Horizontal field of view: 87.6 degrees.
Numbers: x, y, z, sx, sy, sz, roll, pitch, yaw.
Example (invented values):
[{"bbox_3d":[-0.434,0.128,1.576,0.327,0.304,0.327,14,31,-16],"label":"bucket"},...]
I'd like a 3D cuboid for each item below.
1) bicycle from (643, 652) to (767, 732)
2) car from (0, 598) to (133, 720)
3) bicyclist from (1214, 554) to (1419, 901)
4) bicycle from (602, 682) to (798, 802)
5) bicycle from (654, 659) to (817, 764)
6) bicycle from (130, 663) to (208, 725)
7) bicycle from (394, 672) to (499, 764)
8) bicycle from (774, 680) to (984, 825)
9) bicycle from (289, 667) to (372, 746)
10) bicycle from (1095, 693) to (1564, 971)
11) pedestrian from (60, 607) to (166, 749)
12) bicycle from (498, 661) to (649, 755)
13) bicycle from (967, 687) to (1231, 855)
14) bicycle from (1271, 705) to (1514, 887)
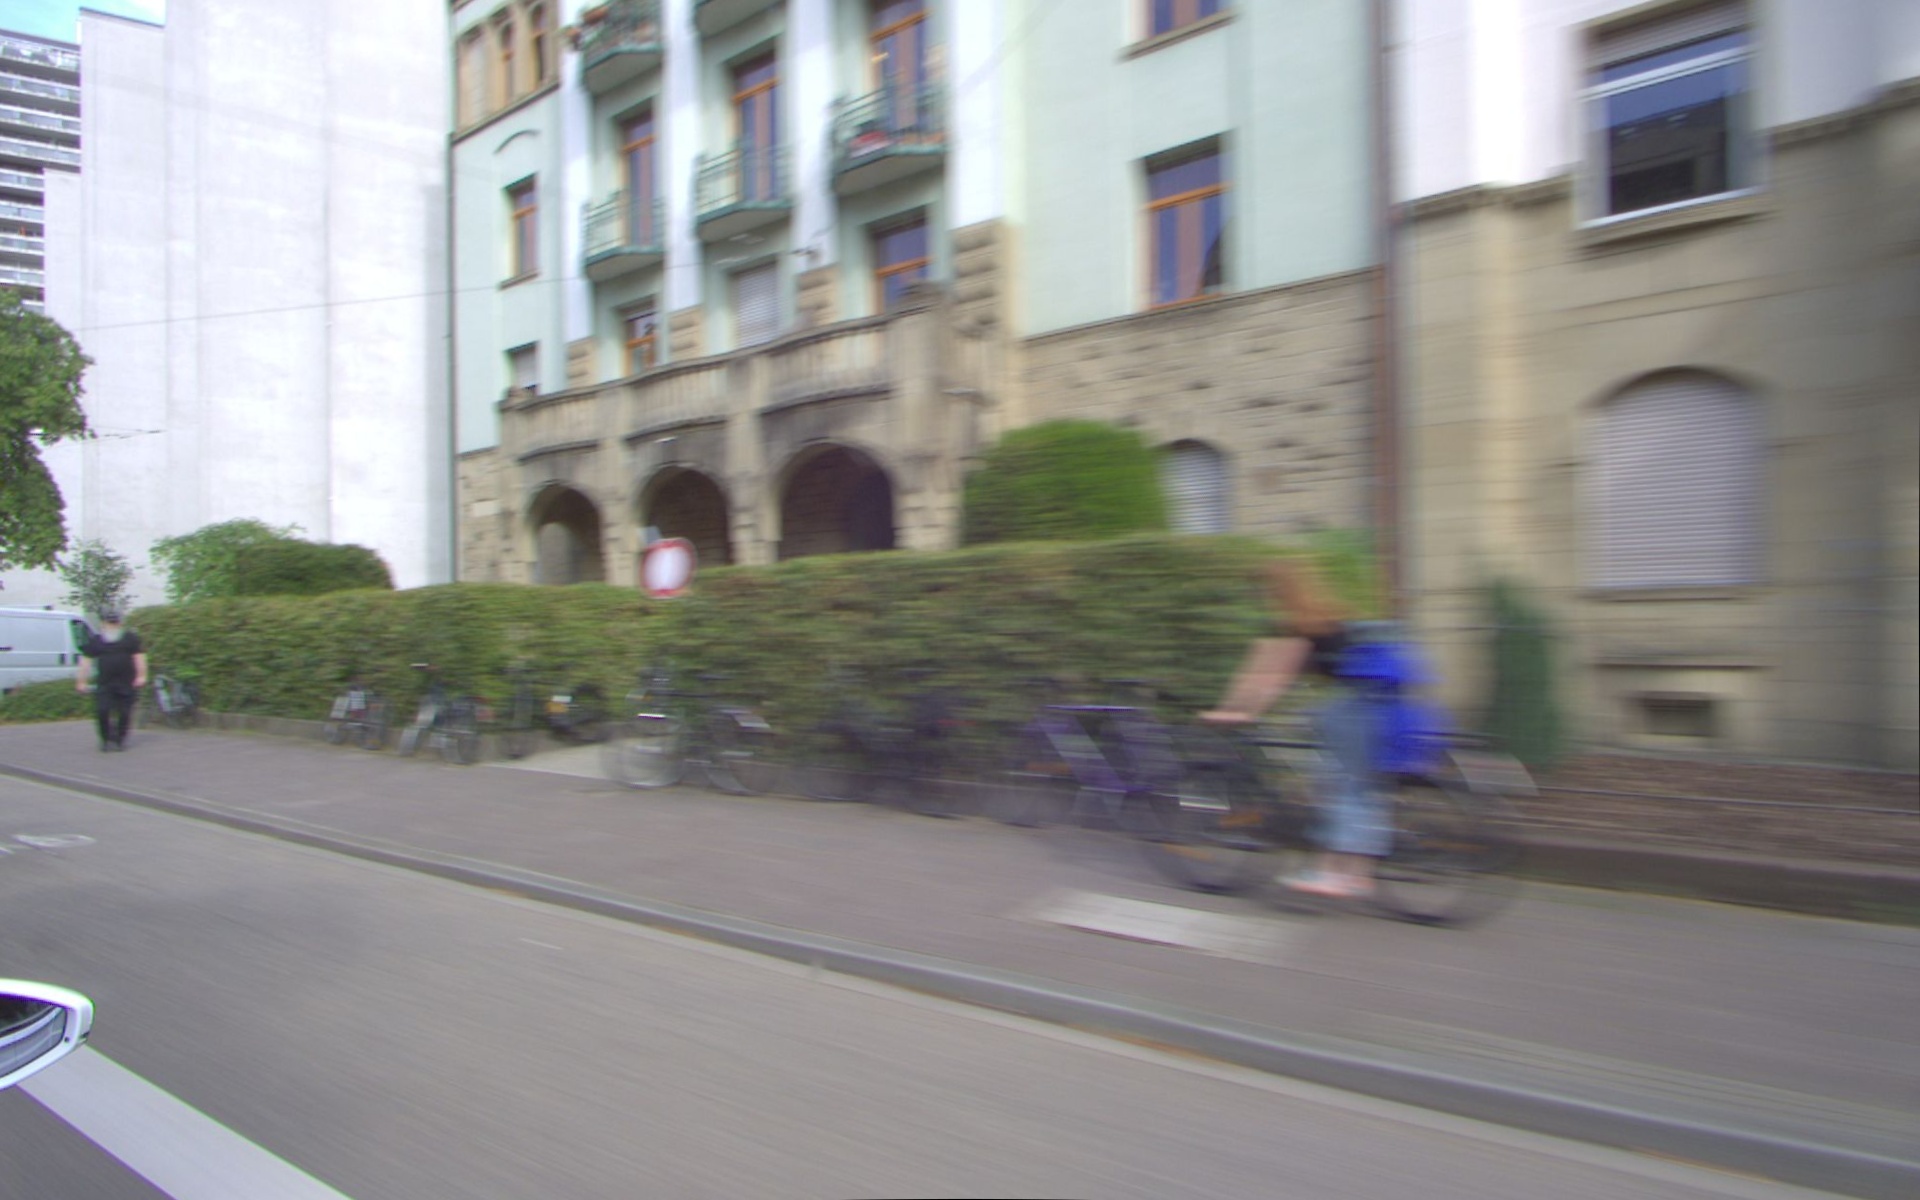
[{"bbox_3d":[-3.322,1.184,13.179,0.481,0.919,1.655,-2,-1,35],"label":"bicycle"},{"bbox_3d":[-19.505,1.172,20.000,2.339,2.319,4.959,0,-2,-8],"label":"car"},{"bbox_3d":[1.709,0.552,4.776,0.789,1.490,0.646,-1,1,32],"label":"bicyclist"},{"bbox_3d":[-2.207,1.172,8.470,1.637,0.919,0.486,-2,0,23],"label":"bicycle"},{"bbox_3d":[-2.285,1.109,10.334,0.482,0.919,1.650,-2,-1,42],"label":"bicycle"},{"bbox_3d":[-12.423,1.451,15.703,1.816,0.919,0.385,-2,-1,33],"label":"bicycle"},{"bbox_3d":[-5.708,1.274,11.094,1.645,0.919,0.384,-2,-1,39],"label":"bicycle"},{"bbox_3d":[-0.634,1.084,7.429,1.644,0.919,0.484,-2,-1,38],"label":"bicycle"},{"bbox_3d":[-8.086,1.342,12.842,1.645,0.919,0.384,-2,-1,39],"label":"bicycle"},{"bbox_3d":[1.716,0.998,4.798,2.007,0.975,0.687,-1,1,32],"label":"bicycle"},{"bbox_3d":[-11.034,0.984,13.052,0.884,1.756,0.783,-1,1,34],"label":"pedestrian"},{"bbox_3d":[-4.413,1.209,11.546,0.480,0.919,1.656,-2,-1,32],"label":"bicycle"},{"bbox_3d":[0.866,1.052,6.505,1.643,0.919,0.484,-2,-1,35],"label":"bicycle"},{"bbox_3d":[2.355,1.040,5.516,1.182,0.863,0.277,-2,-1,35],"label":"bicycle"}]
